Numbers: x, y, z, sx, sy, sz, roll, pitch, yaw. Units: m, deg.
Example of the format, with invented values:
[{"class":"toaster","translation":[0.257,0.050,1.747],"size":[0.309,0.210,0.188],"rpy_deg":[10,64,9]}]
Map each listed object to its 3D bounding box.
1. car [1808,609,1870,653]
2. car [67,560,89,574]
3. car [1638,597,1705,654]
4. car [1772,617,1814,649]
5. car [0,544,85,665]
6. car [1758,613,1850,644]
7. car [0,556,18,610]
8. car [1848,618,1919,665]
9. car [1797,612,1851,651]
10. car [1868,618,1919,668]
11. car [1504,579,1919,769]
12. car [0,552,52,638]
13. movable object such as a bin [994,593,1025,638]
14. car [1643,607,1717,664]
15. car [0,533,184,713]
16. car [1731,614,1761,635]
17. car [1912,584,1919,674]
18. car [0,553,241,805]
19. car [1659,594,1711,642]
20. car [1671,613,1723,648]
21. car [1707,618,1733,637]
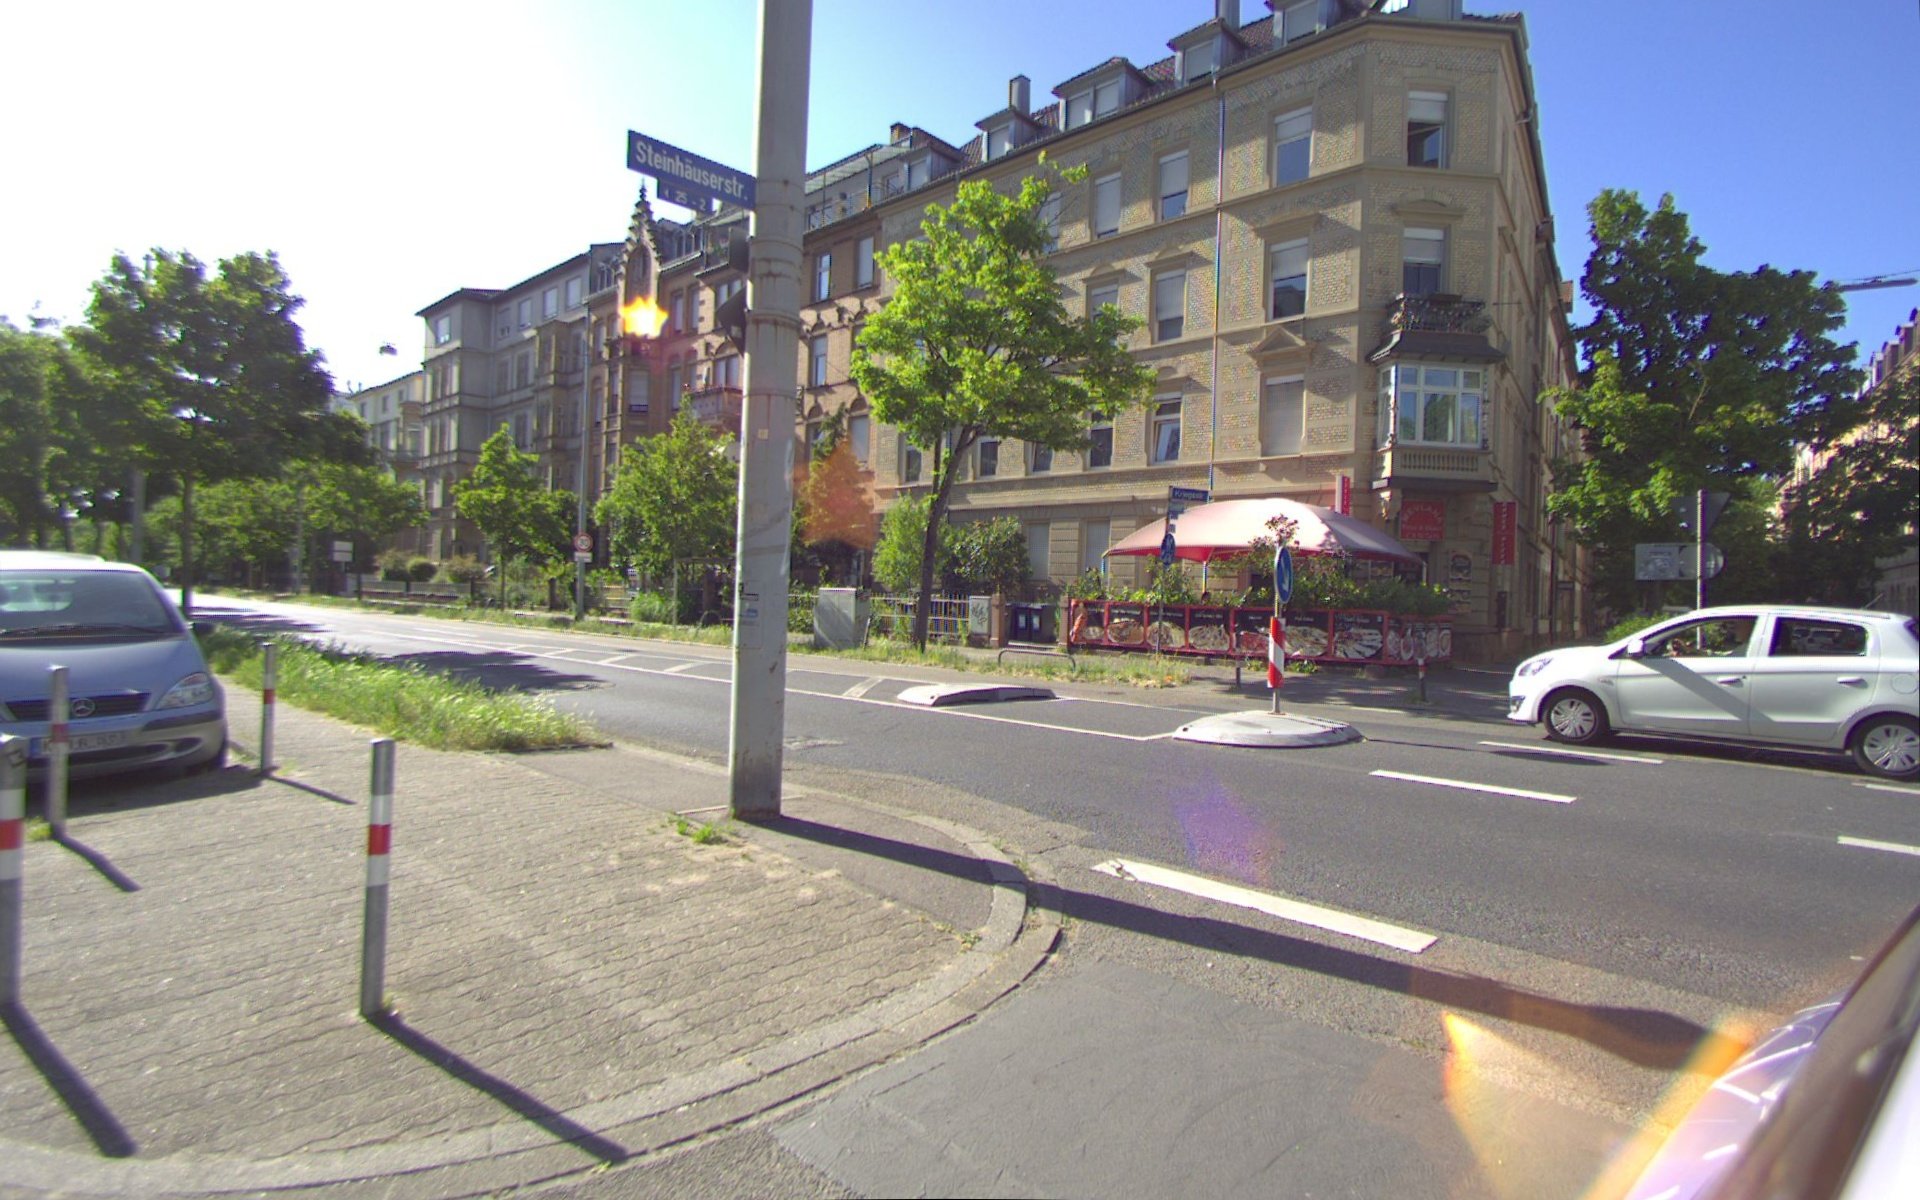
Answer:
[{"class":"car","translation":[41.383,1.431,47.713],"size":[1.767,1.905,3.948],"rpy_deg":[2,0,36]},{"class":"car","translation":[-114.584,-4.230,131.438],"size":[1.925,1.729,3.990],"rpy_deg":[1,1,-45]},{"class":"car","translation":[27.646,0.997,39.369],"size":[1.984,2.055,4.248],"rpy_deg":[2,-1,35]},{"class":"car","translation":[52.682,2.054,64.067],"size":[1.767,1.905,3.948],"rpy_deg":[2,1,36]},{"class":"car","translation":[-14.945,-0.002,15.568],"size":[4.517,1.682,1.865],"rpy_deg":[2,3,44]},{"class":"car","translation":[49.907,1.684,59.932],"size":[3.975,1.606,1.794],"rpy_deg":[2,-2,35]},{"class":"car","translation":[-30.930,-0.578,31.809],"size":[3.988,1.667,1.740],"rpy_deg":[2,1,45]},{"class":"car","translation":[34.975,1.518,38.148],"size":[1.774,1.576,3.774],"rpy_deg":[2,1,35]},{"class":"car","translation":[44.837,1.589,52.600],"size":[1.767,1.905,3.948],"rpy_deg":[2,1,36]},{"class":"car","translation":[32.499,1.464,34.568],"size":[1.684,1.576,3.774],"rpy_deg":[2,1,35]},{"class":"car","translation":[7.826,0.629,9.928],"size":[4.087,1.549,1.638],"rpy_deg":[2,0,44]},{"class":"car","translation":[-19.364,-0.154,20.154],"size":[1.838,1.607,3.991],"rpy_deg":[-1,2,-43]},{"class":"movable object such as a bin","translation":[1.305,0.392,26.500],"size":[0.550,1.147,0.561],"rpy_deg":[2,0,45]},{"class":"car","translation":[22.474,1.103,31.679],"size":[1.683,1.616,3.951],"rpy_deg":[2,-1,33]},{"class":"car","translation":[-10.062,0.147,11.158],"size":[1.844,1.648,4.493],"rpy_deg":[0,2,-45]},{"class":"car","translation":[72.346,2.233,93.198],"size":[1.855,1.791,3.952],"rpy_deg":[2,1,33]},{"class":"car","translation":[26.431,0.823,25.784],"size":[2.204,2.482,5.035],"rpy_deg":[2,1,33]},{"class":"car","translation":[-6.885,0.426,7.606],"size":[3.518,1.537,1.699],"rpy_deg":[2,2,42]},{"class":"car","translation":[43.632,1.107,60.980],"size":[2.260,2.696,4.269],"rpy_deg":[2,-2,33]},{"class":"car","translation":[34.209,1.393,47.043],"size":[1.683,1.491,3.951],"rpy_deg":[2,-1,33]},{"class":"car","translation":[78.688,2.849,104.838],"size":[1.855,1.791,3.952],"rpy_deg":[2,1,33]}]
